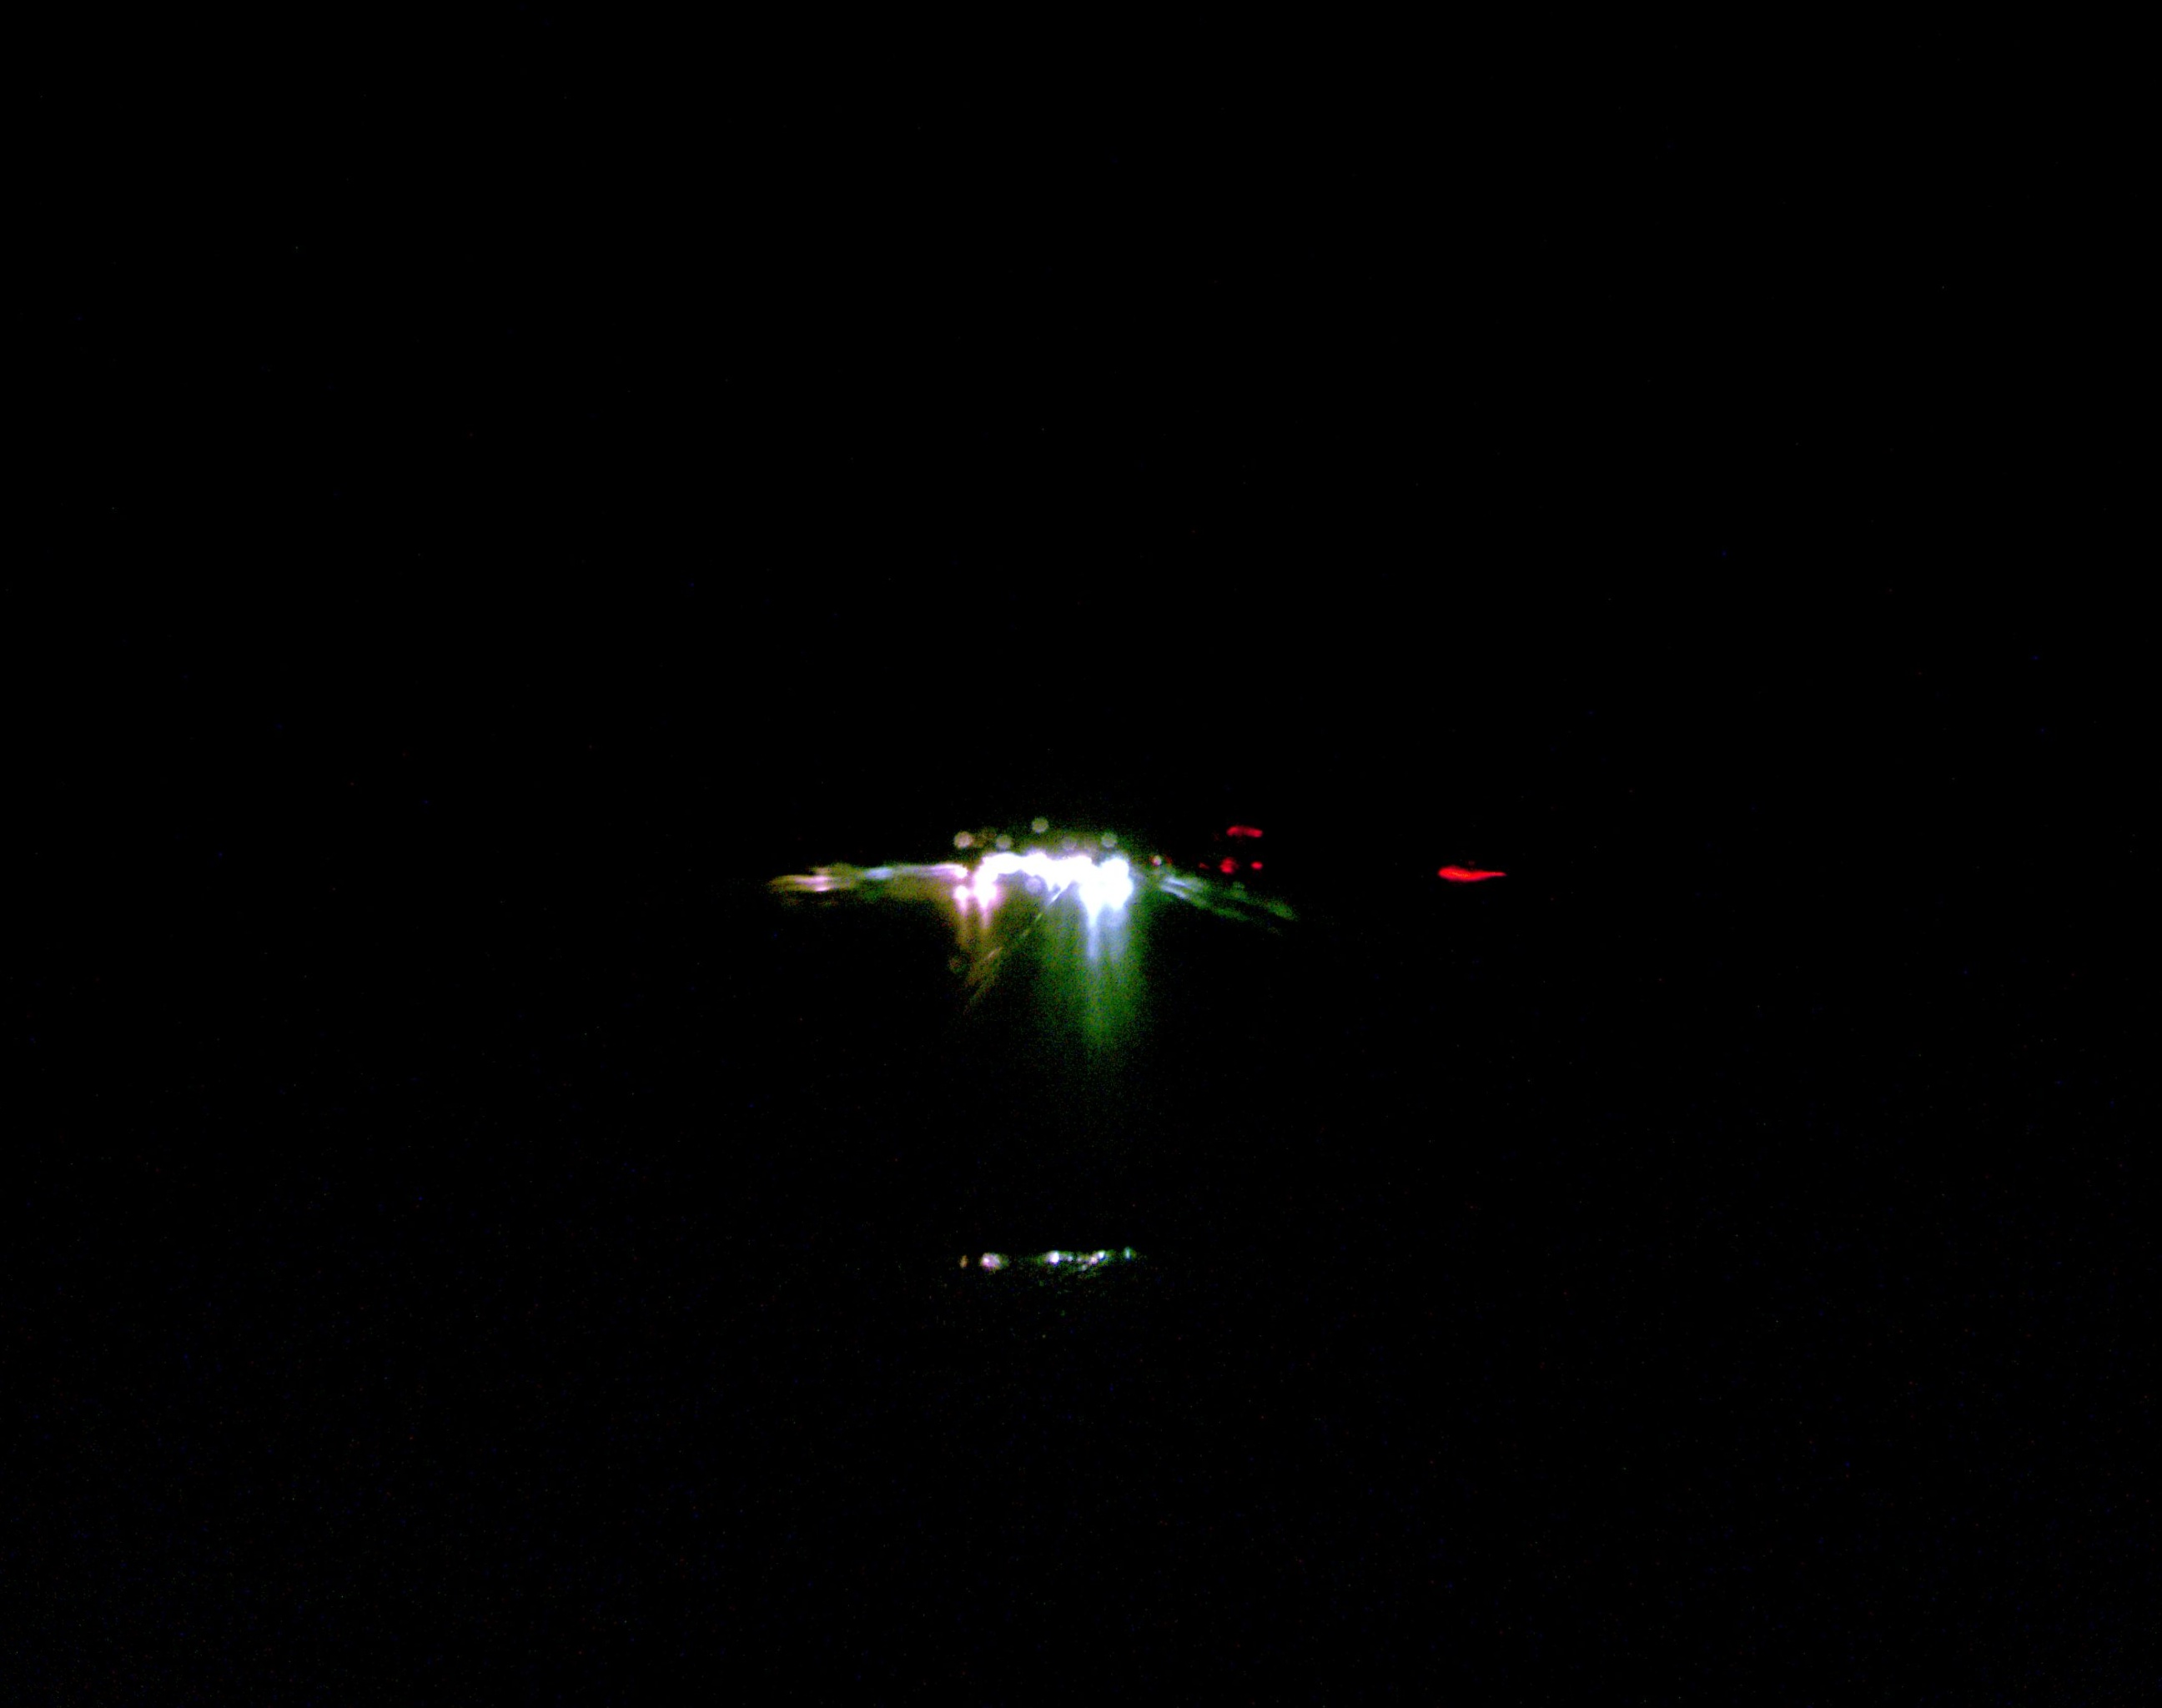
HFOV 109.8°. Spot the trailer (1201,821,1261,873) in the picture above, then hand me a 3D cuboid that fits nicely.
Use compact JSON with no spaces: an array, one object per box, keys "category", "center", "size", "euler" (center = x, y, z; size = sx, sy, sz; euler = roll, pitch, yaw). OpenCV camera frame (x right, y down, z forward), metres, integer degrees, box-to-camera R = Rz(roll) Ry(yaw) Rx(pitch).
[{"category":"trailer","center":[14.038,-0.587,72.621],"size":[2.697,4.352,14.630],"euler":[-2,0,0]}]

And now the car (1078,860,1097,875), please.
[{"category":"car","center":[0.818,1.579,87.702],"size":[1.883,1.654,4.001],"euler":[-3,-1,4]}]

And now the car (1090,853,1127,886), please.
[{"category":"car","center":[1.599,0.858,43.069],"size":[1.882,1.654,4.002],"euler":[-3,-1,4]}]

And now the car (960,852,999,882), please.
[{"category":"car","center":[-6.579,0.837,49.822],"size":[1.832,1.835,4.699],"euler":[-2,-1,0]}]

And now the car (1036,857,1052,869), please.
[{"category":"car","center":[-5.478,1.350,112.954],"size":[1.882,1.654,4.002],"euler":[-3,-1,4]}]

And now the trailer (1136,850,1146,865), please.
[{"category":"trailer","center":[20.118,1.213,256.475],"size":[2.411,4.795,10.170],"euler":[-2,-1,-1]}]

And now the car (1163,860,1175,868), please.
[{"category":"car","center":[19.268,2.147,166.774],"size":[1.999,1.763,4.958],"euler":[0,0,-1]}]

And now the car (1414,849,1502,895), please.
[{"category":"car","center":[17.625,0.783,35.768],"size":[1.998,2.002,4.390],"euler":[0,1,1]}]

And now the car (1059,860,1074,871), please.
[{"category":"car","center":[-2.111,1.695,112.494],"size":[1.883,1.654,4.001],"euler":[-2,-1,3]}]

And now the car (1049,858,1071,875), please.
[{"category":"car","center":[-2.207,1.268,80.131],"size":[1.882,1.654,4.002],"euler":[-3,-1,4]}]

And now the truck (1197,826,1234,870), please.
[{"category":"truck","center":[14.038,-0.563,79.709],"size":[2.697,4.356,5.734],"euler":[-2,0,0]}]
